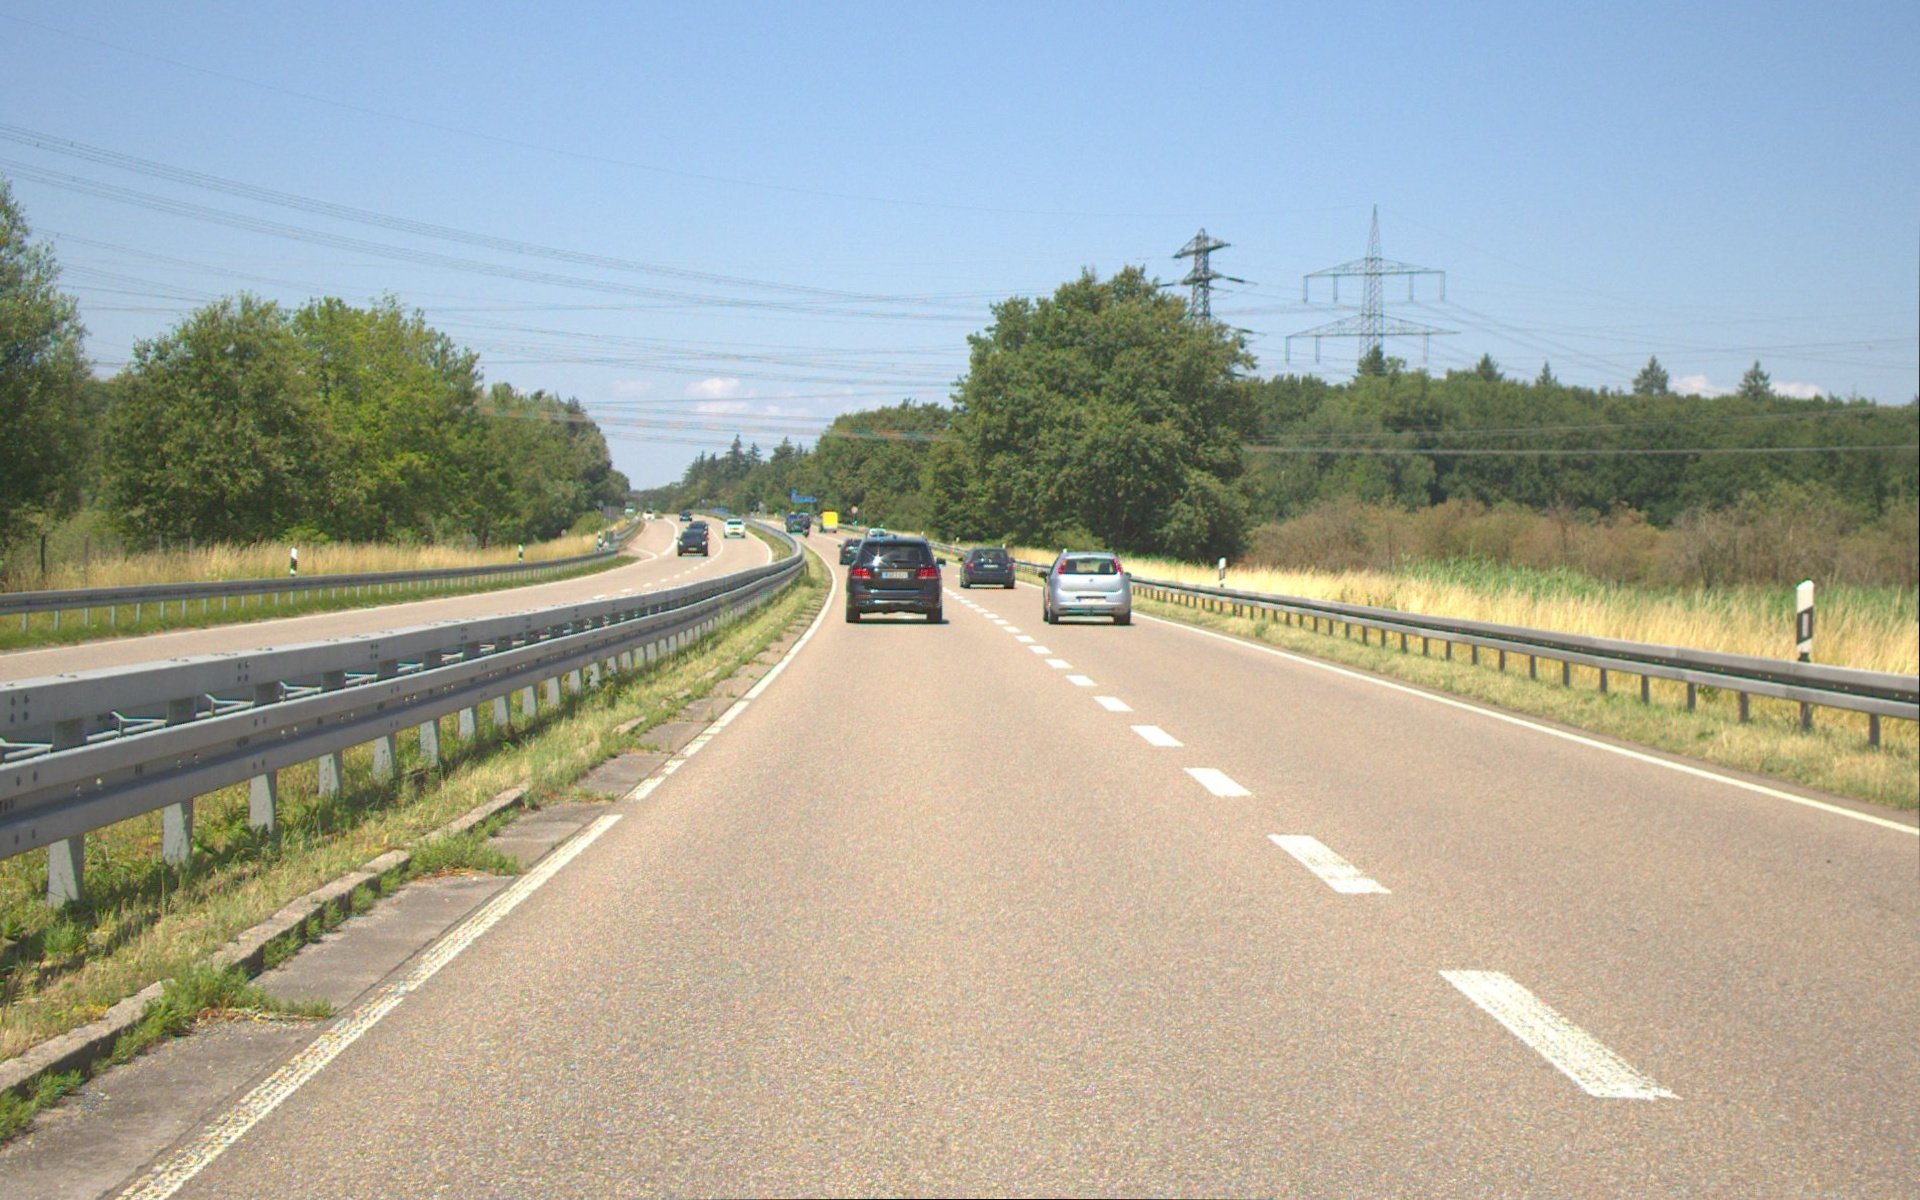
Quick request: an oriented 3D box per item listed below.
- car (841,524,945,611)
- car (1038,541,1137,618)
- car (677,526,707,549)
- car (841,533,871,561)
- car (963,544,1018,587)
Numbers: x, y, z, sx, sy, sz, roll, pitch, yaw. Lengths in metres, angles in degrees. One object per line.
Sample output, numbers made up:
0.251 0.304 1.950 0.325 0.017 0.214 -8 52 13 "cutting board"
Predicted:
-1.340 -0.679 69.601 1.993 1.649 4.000 2 1 -1 "car"
2.588 -0.443 70.733 1.779 1.474 4.316 2 1 -1 "car"
-17.205 -3.994 220.925 1.831 1.470 3.685 0 1 -3 "car"
-5.687 -2.890 187.976 1.514 1.470 3.066 2 1 -3 "car"
1.056 -1.208 120.285 1.819 1.409 4.000 2 1 0 "car"
